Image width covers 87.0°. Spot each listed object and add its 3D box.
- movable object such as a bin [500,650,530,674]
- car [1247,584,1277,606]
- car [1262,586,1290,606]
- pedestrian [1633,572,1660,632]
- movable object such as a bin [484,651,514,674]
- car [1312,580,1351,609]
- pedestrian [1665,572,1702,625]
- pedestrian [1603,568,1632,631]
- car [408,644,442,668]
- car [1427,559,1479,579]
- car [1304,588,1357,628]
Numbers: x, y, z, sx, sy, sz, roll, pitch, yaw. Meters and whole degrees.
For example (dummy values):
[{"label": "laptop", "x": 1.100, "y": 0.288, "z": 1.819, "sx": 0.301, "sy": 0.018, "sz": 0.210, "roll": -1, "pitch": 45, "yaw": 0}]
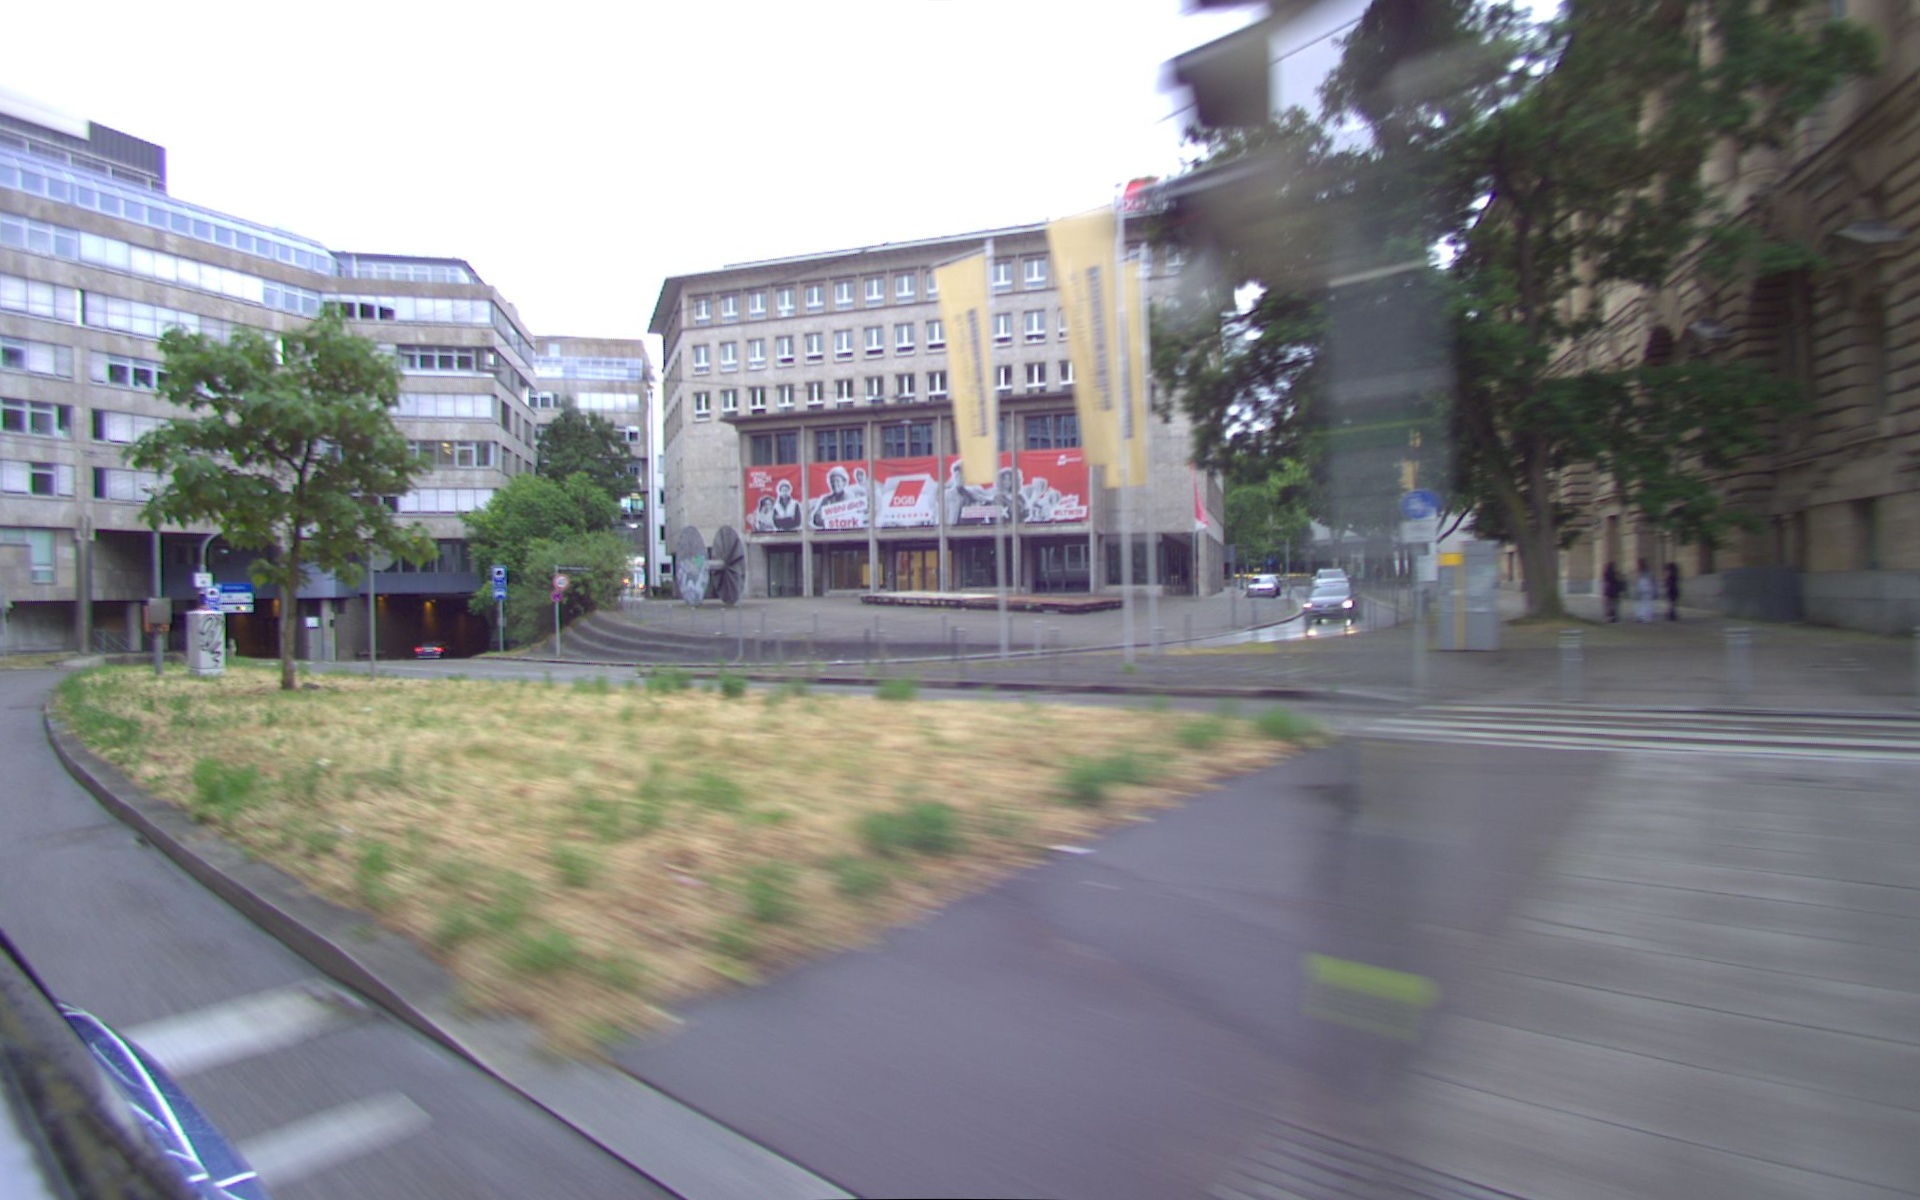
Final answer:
[{"label": "movable object such as a bin", "x": -28.238, "y": 3.933, "z": 64.232, "sx": 1.200, "sy": 1.461, "sz": 1.285, "roll": -2, "pitch": -2, "yaw": 25}, {"label": "car", "x": 19.032, "y": -0.309, "z": 63.746, "sx": 1.607, "sy": 1.258, "sz": 3.599, "roll": -2, "pitch": -1, "yaw": 19}, {"label": "car", "x": 21.696, "y": -0.247, "z": 69.405, "sx": 1.608, "sy": 1.258, "sz": 3.597, "roll": -2, "pitch": -1, "yaw": 21}, {"label": "pedestrian", "x": 17.904, "y": 0.043, "z": 26.414, "sx": 0.438, "sy": 1.540, "sz": 0.385, "roll": -2, "pitch": -1, "yaw": 18}, {"label": "movable object such as a bin", "x": -29.604, "y": 3.999, "z": 64.943, "sx": 1.328, "sy": 1.461, "sz": 1.161, "roll": -1, "pitch": -2, "yaw": 17}, {"label": "car", "x": 21.875, "y": -0.297, "z": 59.707, "sx": 1.984, "sy": 1.568, "sz": 4.187, "roll": -2, "pitch": 0, "yaw": 19}, {"label": "pedestrian", "x": 18.710, "y": -0.032, "z": 26.172, "sx": 0.639, "sy": 1.355, "sz": 0.439, "roll": -2, "pitch": -1, "yaw": 18}, {"label": "pedestrian", "x": 17.355, "y": -0.017, "z": 26.721, "sx": 0.495, "sy": 1.636, "sz": 0.384, "roll": -2, "pitch": -1, "yaw": 18}, {"label": "car", "x": -36.472, "y": 3.778, "z": 69.111, "sx": 1.965, "sy": 1.504, "sz": 4.857, "roll": 0, "pitch": -2, "yaw": -27}, {"label": "car", "x": 55.732, "y": -3.454, "z": 114.566, "sx": 2.279, "sy": 1.972, "sz": 6.301, "roll": -2, "pitch": -1, "yaw": -5}, {"label": "car", "x": 13.976, "y": 0.287, "z": 38.080, "sx": 1.610, "sy": 1.414, "sz": 3.593, "roll": -2, "pitch": -1, "yaw": 24}]
